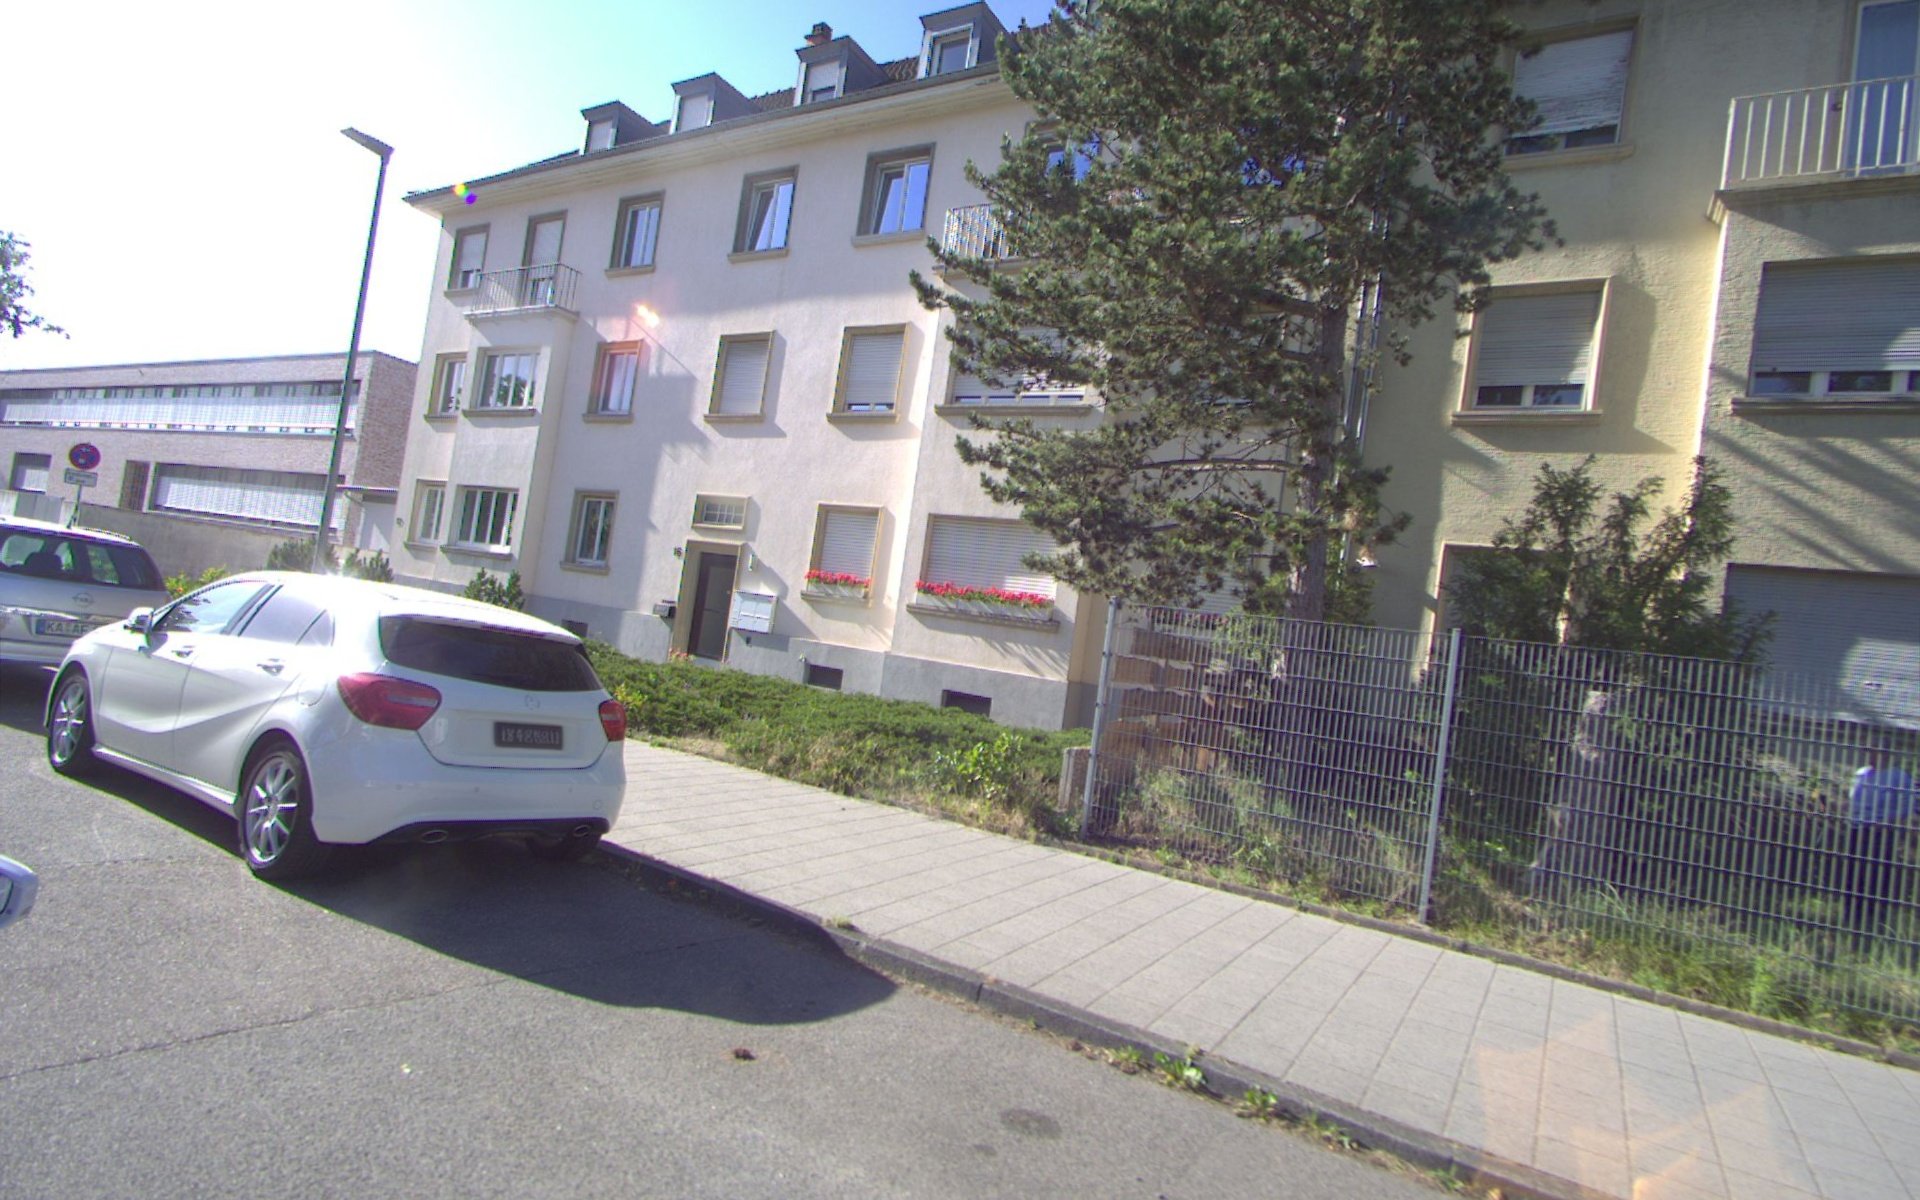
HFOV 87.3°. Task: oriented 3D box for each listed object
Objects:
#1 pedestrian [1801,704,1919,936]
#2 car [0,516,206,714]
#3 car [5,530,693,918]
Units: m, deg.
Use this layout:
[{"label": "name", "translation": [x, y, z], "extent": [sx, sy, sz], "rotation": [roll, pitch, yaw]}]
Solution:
[{"label": "pedestrian", "translation": [7.331, 1.741, 8.096], "extent": [0.646, 1.679, 0.642], "rotation": [10, -3, -42]}, {"label": "car", "translation": [-9.149, -0.060, 9.307], "extent": [4.335, 1.480, 1.666], "rotation": [7, -4, 29]}, {"label": "car", "translation": [-3.888, 0.583, 6.208], "extent": [4.218, 1.435, 1.800], "rotation": [6, -5, 33]}]
